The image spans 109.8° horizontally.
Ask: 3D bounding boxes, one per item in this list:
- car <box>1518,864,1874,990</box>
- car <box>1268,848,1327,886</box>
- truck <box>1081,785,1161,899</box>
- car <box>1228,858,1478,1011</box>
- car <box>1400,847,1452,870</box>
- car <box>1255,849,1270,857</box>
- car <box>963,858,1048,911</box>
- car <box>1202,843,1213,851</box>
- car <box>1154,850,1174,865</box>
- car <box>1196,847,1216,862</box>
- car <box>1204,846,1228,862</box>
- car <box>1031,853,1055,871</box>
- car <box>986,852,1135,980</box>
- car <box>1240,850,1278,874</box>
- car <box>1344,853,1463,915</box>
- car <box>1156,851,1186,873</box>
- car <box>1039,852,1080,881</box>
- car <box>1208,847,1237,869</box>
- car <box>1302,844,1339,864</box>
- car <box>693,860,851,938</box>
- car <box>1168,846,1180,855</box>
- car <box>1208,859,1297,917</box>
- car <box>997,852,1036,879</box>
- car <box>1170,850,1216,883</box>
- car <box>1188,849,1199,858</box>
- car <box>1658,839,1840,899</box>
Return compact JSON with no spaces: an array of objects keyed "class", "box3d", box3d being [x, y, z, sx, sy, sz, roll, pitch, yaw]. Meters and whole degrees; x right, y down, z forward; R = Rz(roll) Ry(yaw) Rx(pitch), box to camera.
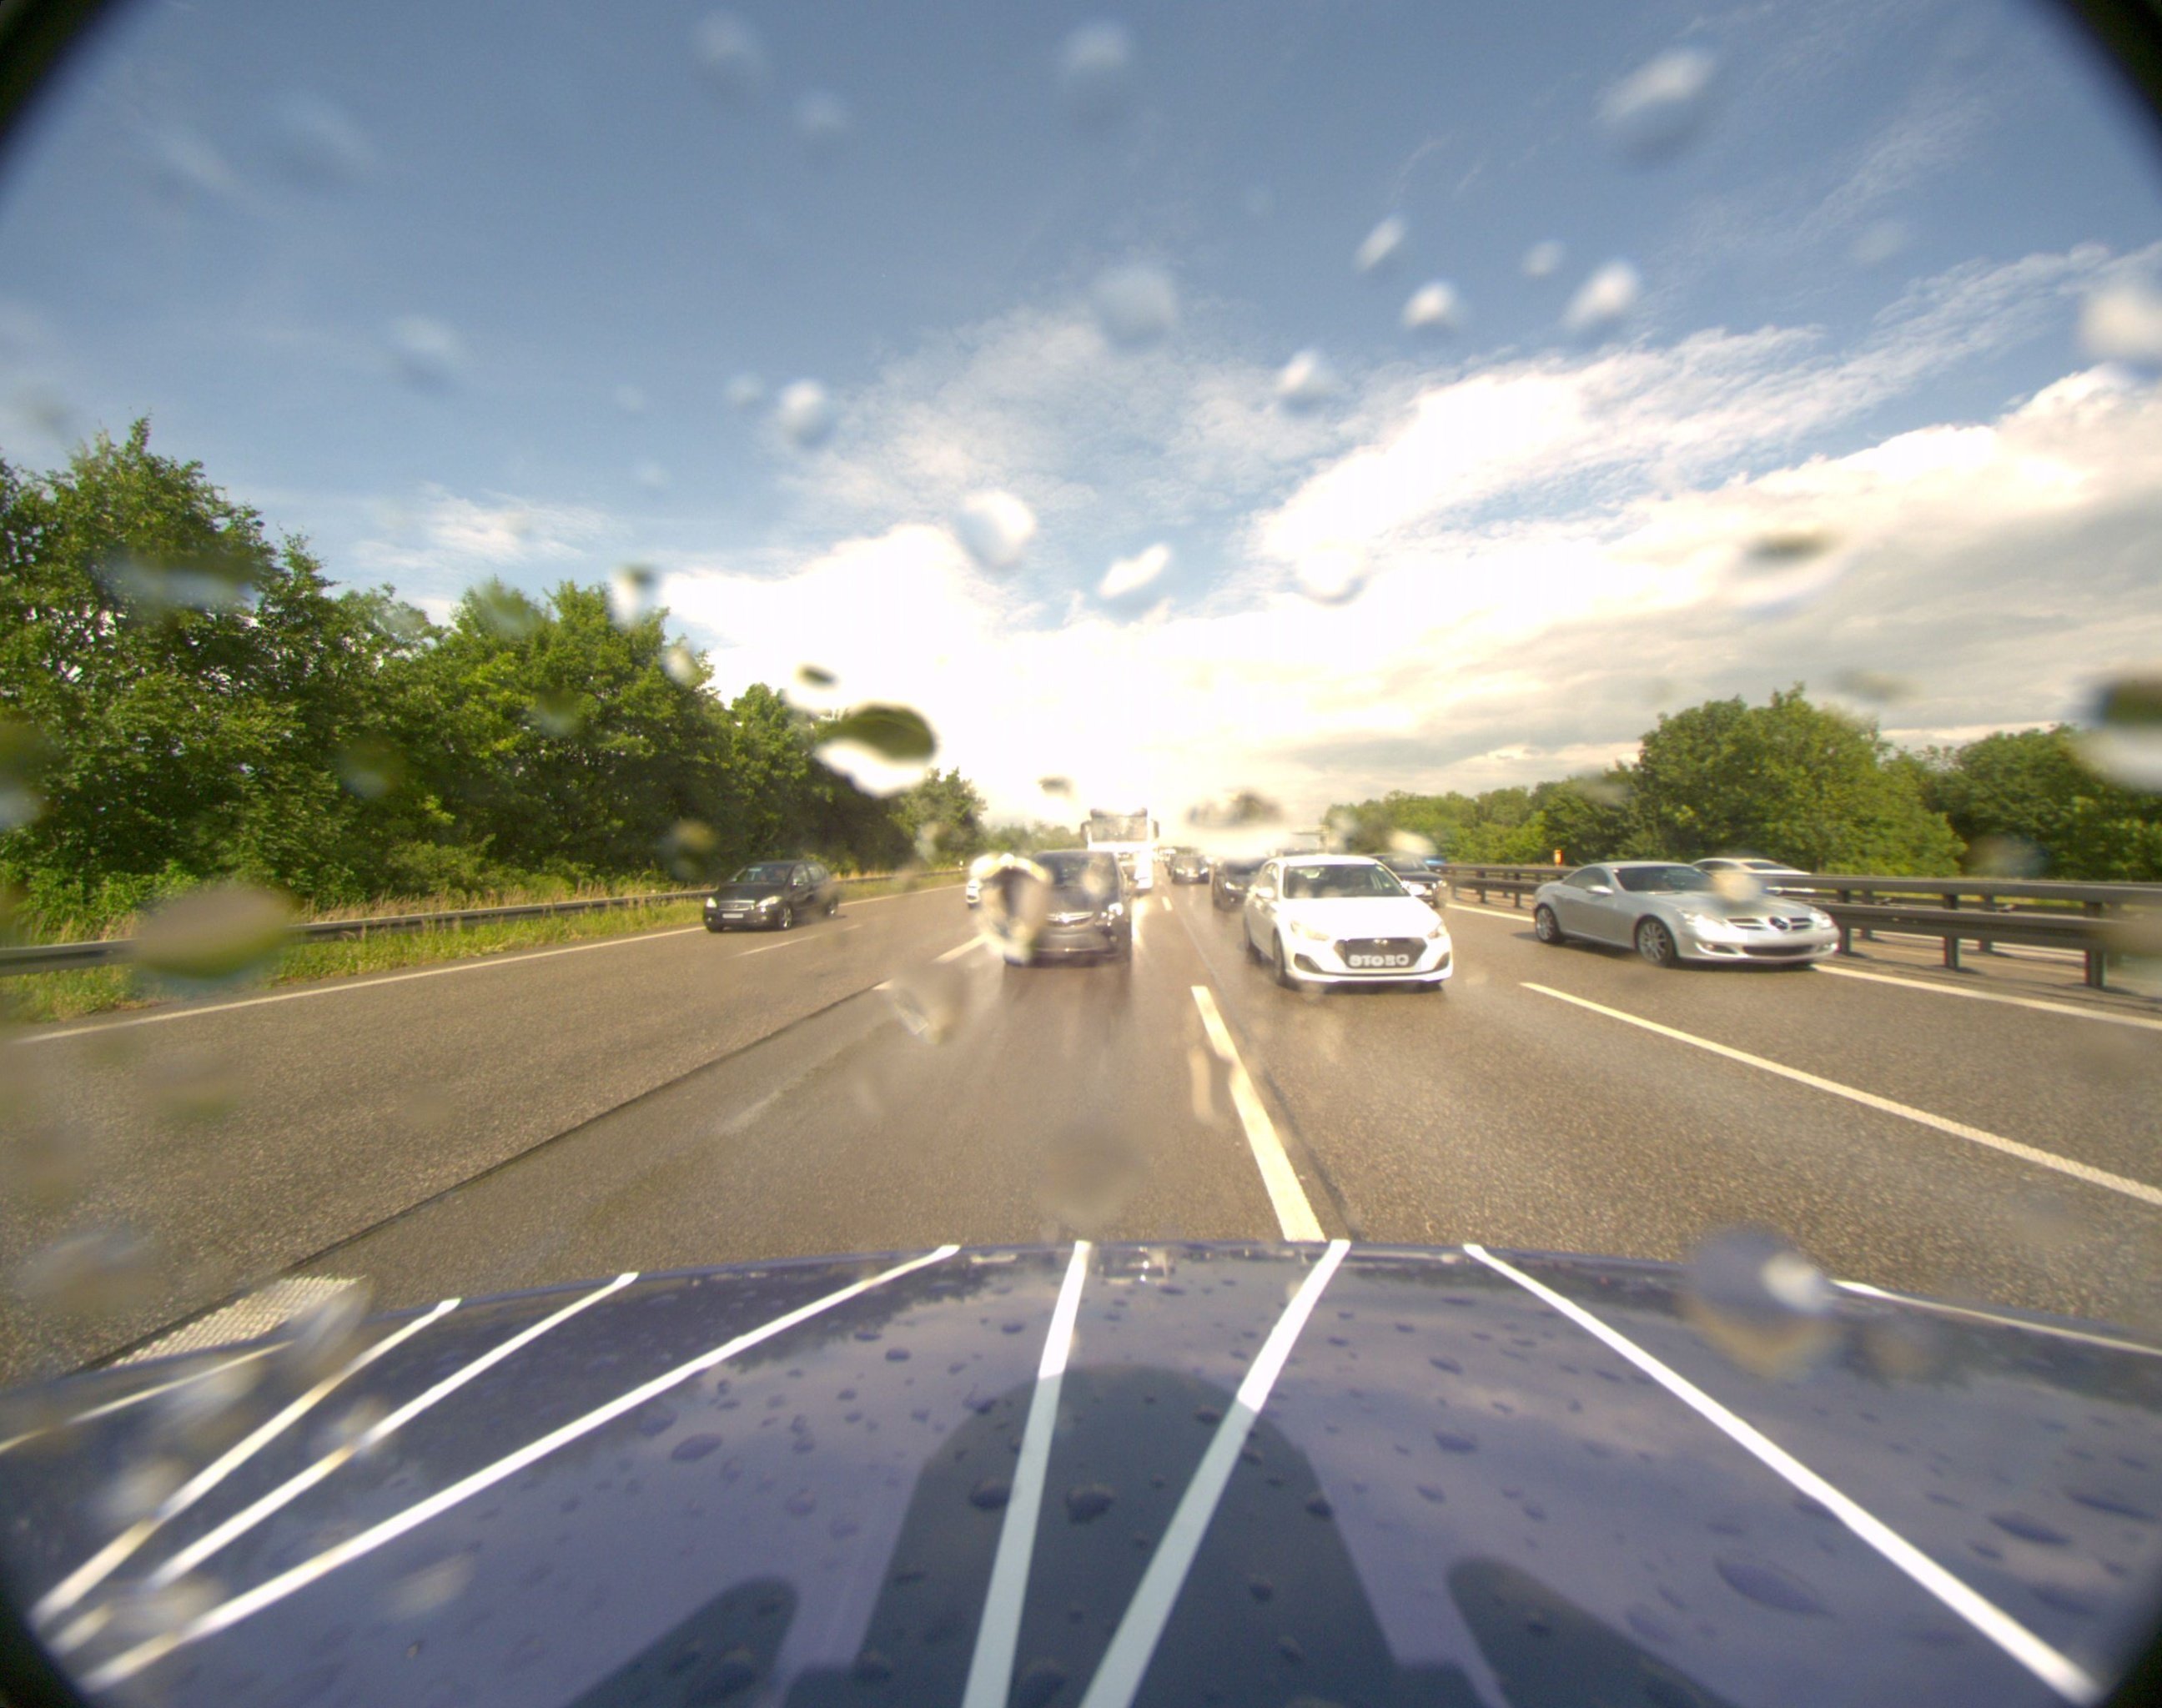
[{"class":"car","box3d":[7.816,0.820,10.259,1.728,1.270,4.064,-1,0,4]},{"class":"car","box3d":[9.849,0.550,34.886,1.874,1.597,4.230,-1,1,5]},{"class":"truck","box3d":[1.862,-0.478,31.563,2.816,4.083,7.448,-2,1,6]},{"class":"car","box3d":[3.121,0.818,9.787,1.885,1.446,4.549,-1,0,4]},{"class":"car","box3d":[22.287,0.278,49.238,1.760,1.371,3.877,-1,0,4]},{"class":"car","box3d":[37.774,-0.194,158.175,2.122,1.478,5.038,-1,0,2]},{"class":"car","box3d":[-2.310,0.891,24.383,1.830,1.417,4.512,-2,1,5]},{"class":"car","box3d":[28.019,-1.534,167.890,1.998,1.768,4.462,-1,0,5]},{"class":"car","box3d":[8.975,0.344,82.292,1.998,1.471,4.000,-2,1,4]},{"class":"car","box3d":[15.091,0.028,92.019,1.998,1.687,4.000,-2,1,4]},{"class":"car","box3d":[14.063,-0.012,79.473,1.998,1.471,4.000,-2,1,4]},{"class":"car","box3d":[-3.647,0.752,73.879,1.998,1.619,4.000,-1,0,1]},{"class":"car","box3d":[-0.121,0.805,12.076,1.883,1.638,4.397,-1,0,4]},{"class":"car","box3d":[11.341,0.505,48.558,1.771,1.371,4.000,-1,1,4]},{"class":"car","box3d":[8.511,0.733,20.454,1.770,1.417,4.140,-2,1,5]},{"class":"car","box3d":[6.681,0.570,56.770,1.998,1.471,4.000,-2,1,4]},{"class":"car","box3d":[-1.240,0.721,45.825,1.998,1.572,4.654,-1,0,4]},{"class":"car","box3d":[12.369,0.350,66.764,1.998,1.739,4.000,-2,1,4]},{"class":"car","box3d":[20.182,-0.003,64.209,1.998,1.614,4.000,-1,0,2]},{"class":"car","box3d":[-7.136,0.973,18.037,1.852,1.559,4.001,-1,1,4]},{"class":"car","box3d":[18.060,-0.663,148.062,1.998,1.687,4.000,-2,1,4]},{"class":"car","box3d":[4.540,0.855,20.673,1.728,1.330,4.288,-1,0,4]},{"class":"car","box3d":[-4.158,0.706,49.513,1.824,1.611,4.365,-2,0,4]},{"class":"car","box3d":[5.758,0.599,39.406,1.998,1.477,4.000,-2,1,4]},{"class":"car","box3d":[24.598,-0.110,165.813,1.998,1.687,4.000,-2,1,4]},{"class":"car","box3d":[20.747,0.407,23.917,1.998,1.677,4.462,-1,0,4]}]
